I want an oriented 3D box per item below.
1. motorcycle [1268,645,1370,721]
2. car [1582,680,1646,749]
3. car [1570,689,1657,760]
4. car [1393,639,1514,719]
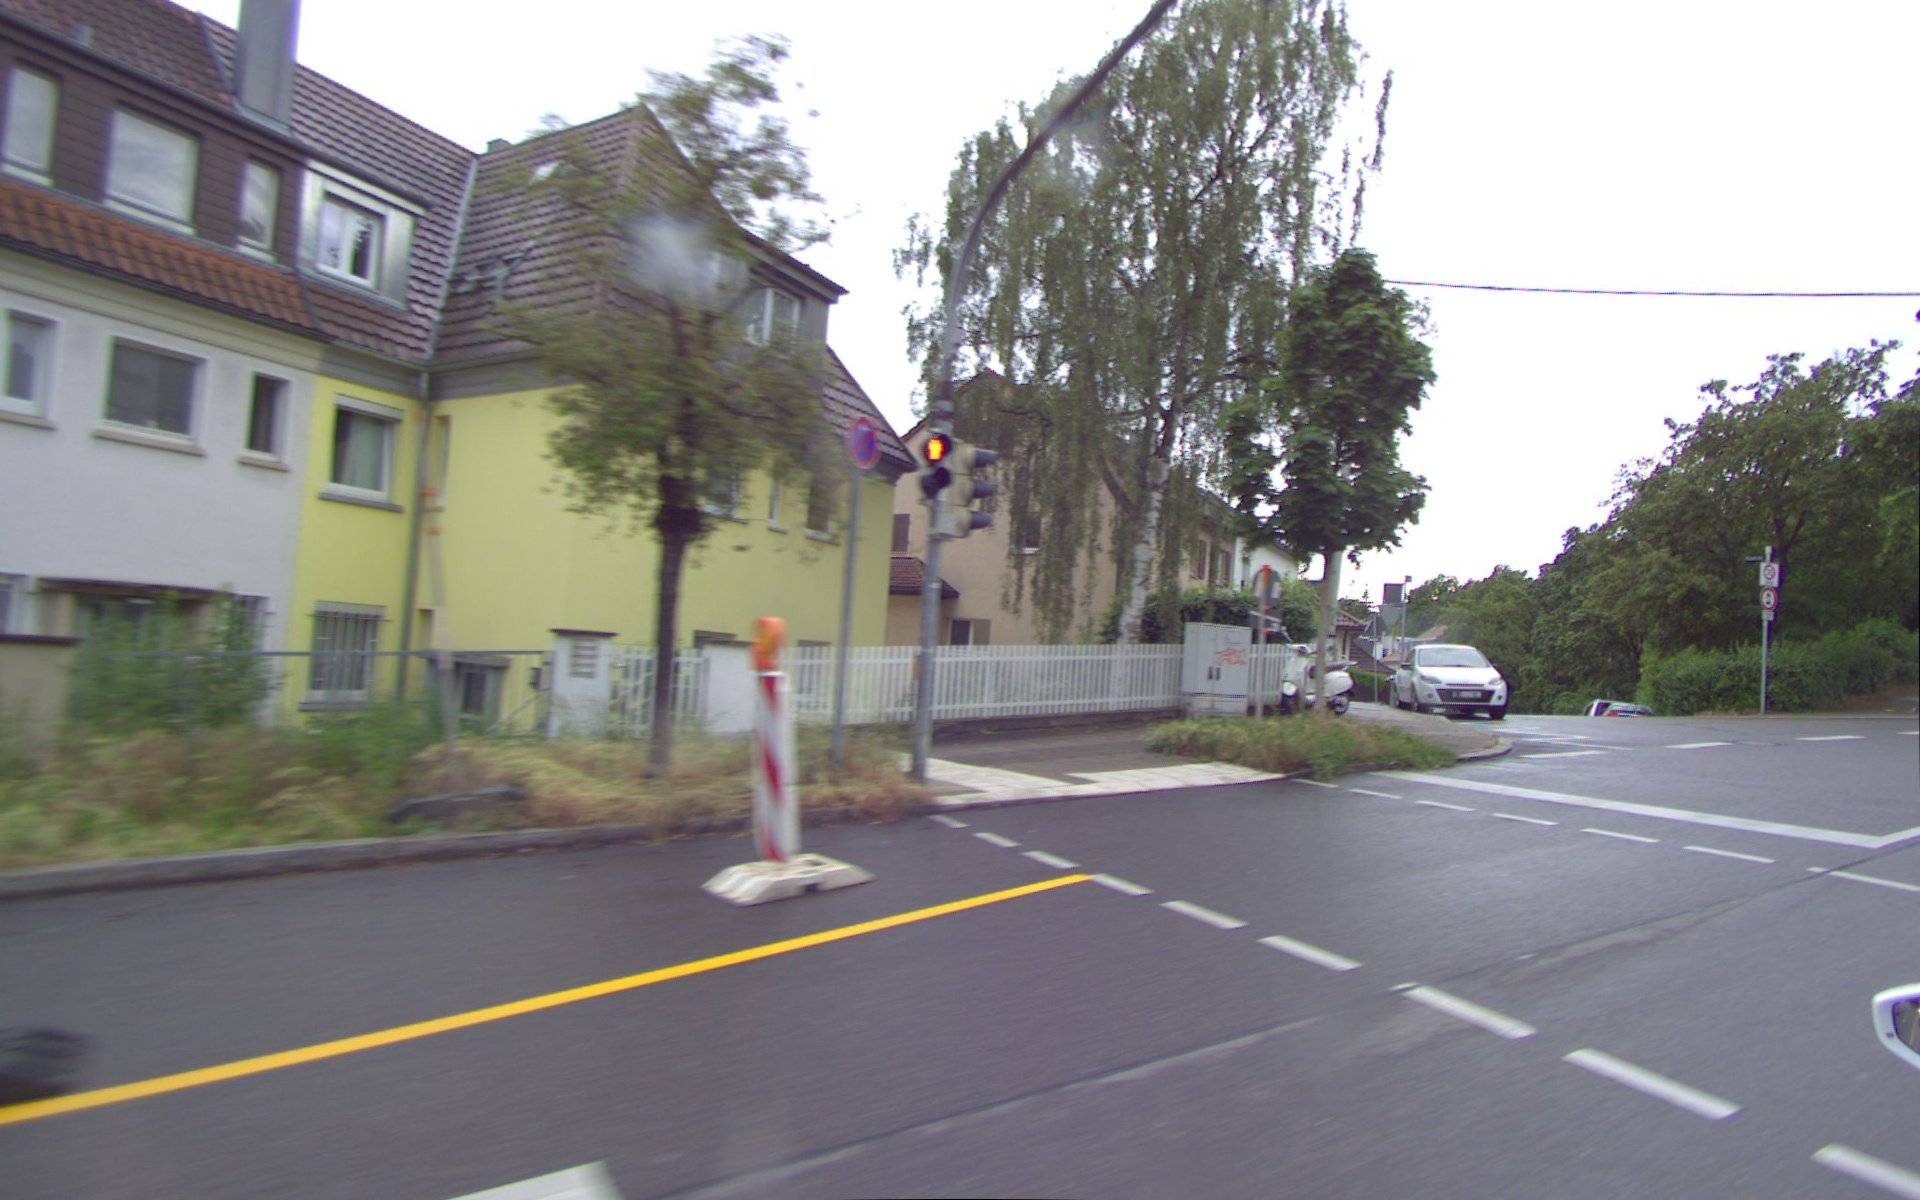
[{"bbox_3d":[5.785,1.304,16.153,1.824,1.146,0.587,2,-2,-34],"label":"motorcycle"},{"bbox_3d":[24.259,4.182,37.277,1.724,2.040,3.989,7,2,33],"label":"car"},{"bbox_3d":[21.312,4.004,32.915,1.813,1.772,3.996,7,1,27],"label":"car"},{"bbox_3d":[10.435,1.676,21.505,1.655,1.528,4.015,-1,-4,17],"label":"car"}]
